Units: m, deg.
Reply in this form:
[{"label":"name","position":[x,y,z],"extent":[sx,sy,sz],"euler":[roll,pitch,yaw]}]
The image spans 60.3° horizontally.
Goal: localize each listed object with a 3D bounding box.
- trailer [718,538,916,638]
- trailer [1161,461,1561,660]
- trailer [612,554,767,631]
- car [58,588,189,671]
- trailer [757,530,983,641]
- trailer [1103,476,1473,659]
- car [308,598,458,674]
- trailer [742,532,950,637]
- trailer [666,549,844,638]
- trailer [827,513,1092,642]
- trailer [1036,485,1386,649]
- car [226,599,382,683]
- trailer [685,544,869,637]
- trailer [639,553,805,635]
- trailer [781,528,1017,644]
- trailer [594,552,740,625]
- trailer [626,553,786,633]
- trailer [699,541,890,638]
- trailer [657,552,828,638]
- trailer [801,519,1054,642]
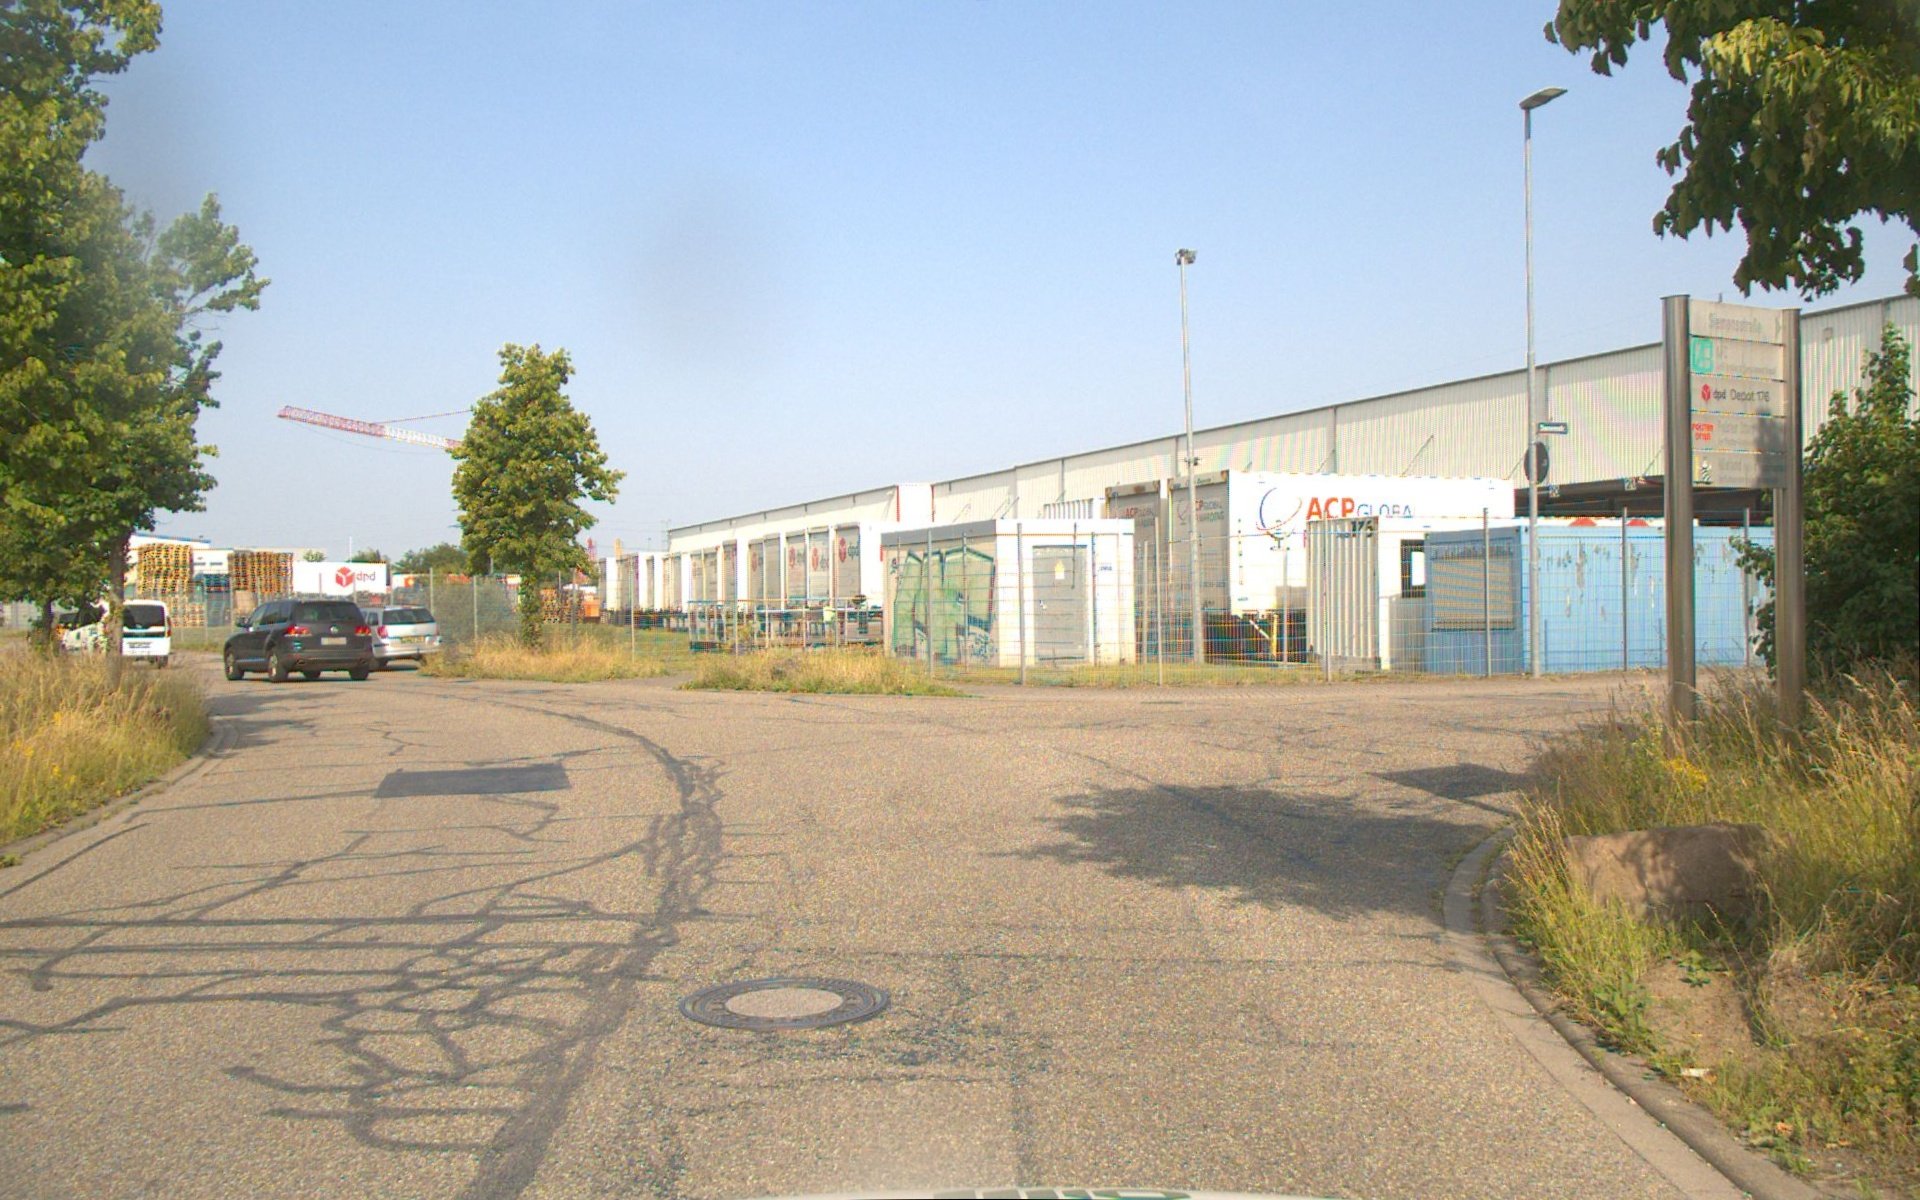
[{"label":"trailer","position":[-6.011,-0.457,69.803],"extent":[7.860,3.962,2.754],"euler":[1,0,-25]},{"label":"trailer","position":[8.767,-0.788,36.022],"extent":[8.418,3.962,2.756],"euler":[-1,-2,-23]},{"label":"trailer","position":[-14.697,-0.361,89.985],"extent":[7.860,3.962,2.754],"euler":[1,0,-25]},{"label":"car","position":[-23.166,0.806,45.715],"extent":[2.111,2.147,4.552],"euler":[-1,-1,-42]},{"label":"trailer","position":[-3.406,-0.493,63.417],"extent":[8.201,3.962,2.754],"euler":[1,0,-25]},{"label":"trailer","position":[7.736,-0.811,38.826],"extent":[8.422,3.961,2.756],"euler":[-2,0,-23]},{"label":"car","position":[-14.078,0.845,40.249],"extent":[1.791,1.654,4.378],"euler":[-3,2,-43]},{"label":"trailer","position":[-4.607,-0.575,67.191],"extent":[7.930,3.962,2.754],"euler":[1,0,-25]},{"label":"trailer","position":[-9.692,-0.254,78.232],"extent":[7.860,3.962,2.754],"euler":[1,0,-25]},{"label":"trailer","position":[0.025,-0.670,54.931],"extent":[8.426,3.962,2.754],"euler":[1,0,-25]},{"label":"trailer","position":[6.371,-0.758,41.609],"extent":[8.619,3.827,2.769],"euler":[0,-1,-25]},{"label":"car","position":[-13.710,0.835,34.457],"extent":[1.869,1.614,4.054],"euler":[-1,0,-40]},{"label":"trailer","position":[-8.322,-0.401,75.350],"extent":[7.860,3.962,2.754],"euler":[1,0,-25]},{"label":"trailer","position":[-12.109,-0.264,84.309],"extent":[7.860,3.962,2.754],"euler":[1,0,-25]},{"label":"trailer","position":[-2.200,-0.469,60.625],"extent":[8.201,3.962,2.754],"euler":[1,0,-25]},{"label":"trailer","position":[-16.906,-0.645,95.475],"extent":[7.860,3.962,2.721],"euler":[1,0,-25]},{"label":"trailer","position":[-13.399,-0.333,87.293],"extent":[7.860,3.962,2.754],"euler":[1,0,-25]},{"label":"trailer","position":[-7.239,-0.420,72.535],"extent":[7.860,3.962,2.754],"euler":[1,0,-25]},{"label":"trailer","position":[-10.698,-0.210,81.525],"extent":[7.860,3.962,2.754],"euler":[1,0,-25]},{"label":"trailer","position":[-1.095,-0.621,57.744],"extent":[8.426,3.962,2.754],"euler":[1,0,-25]}]
